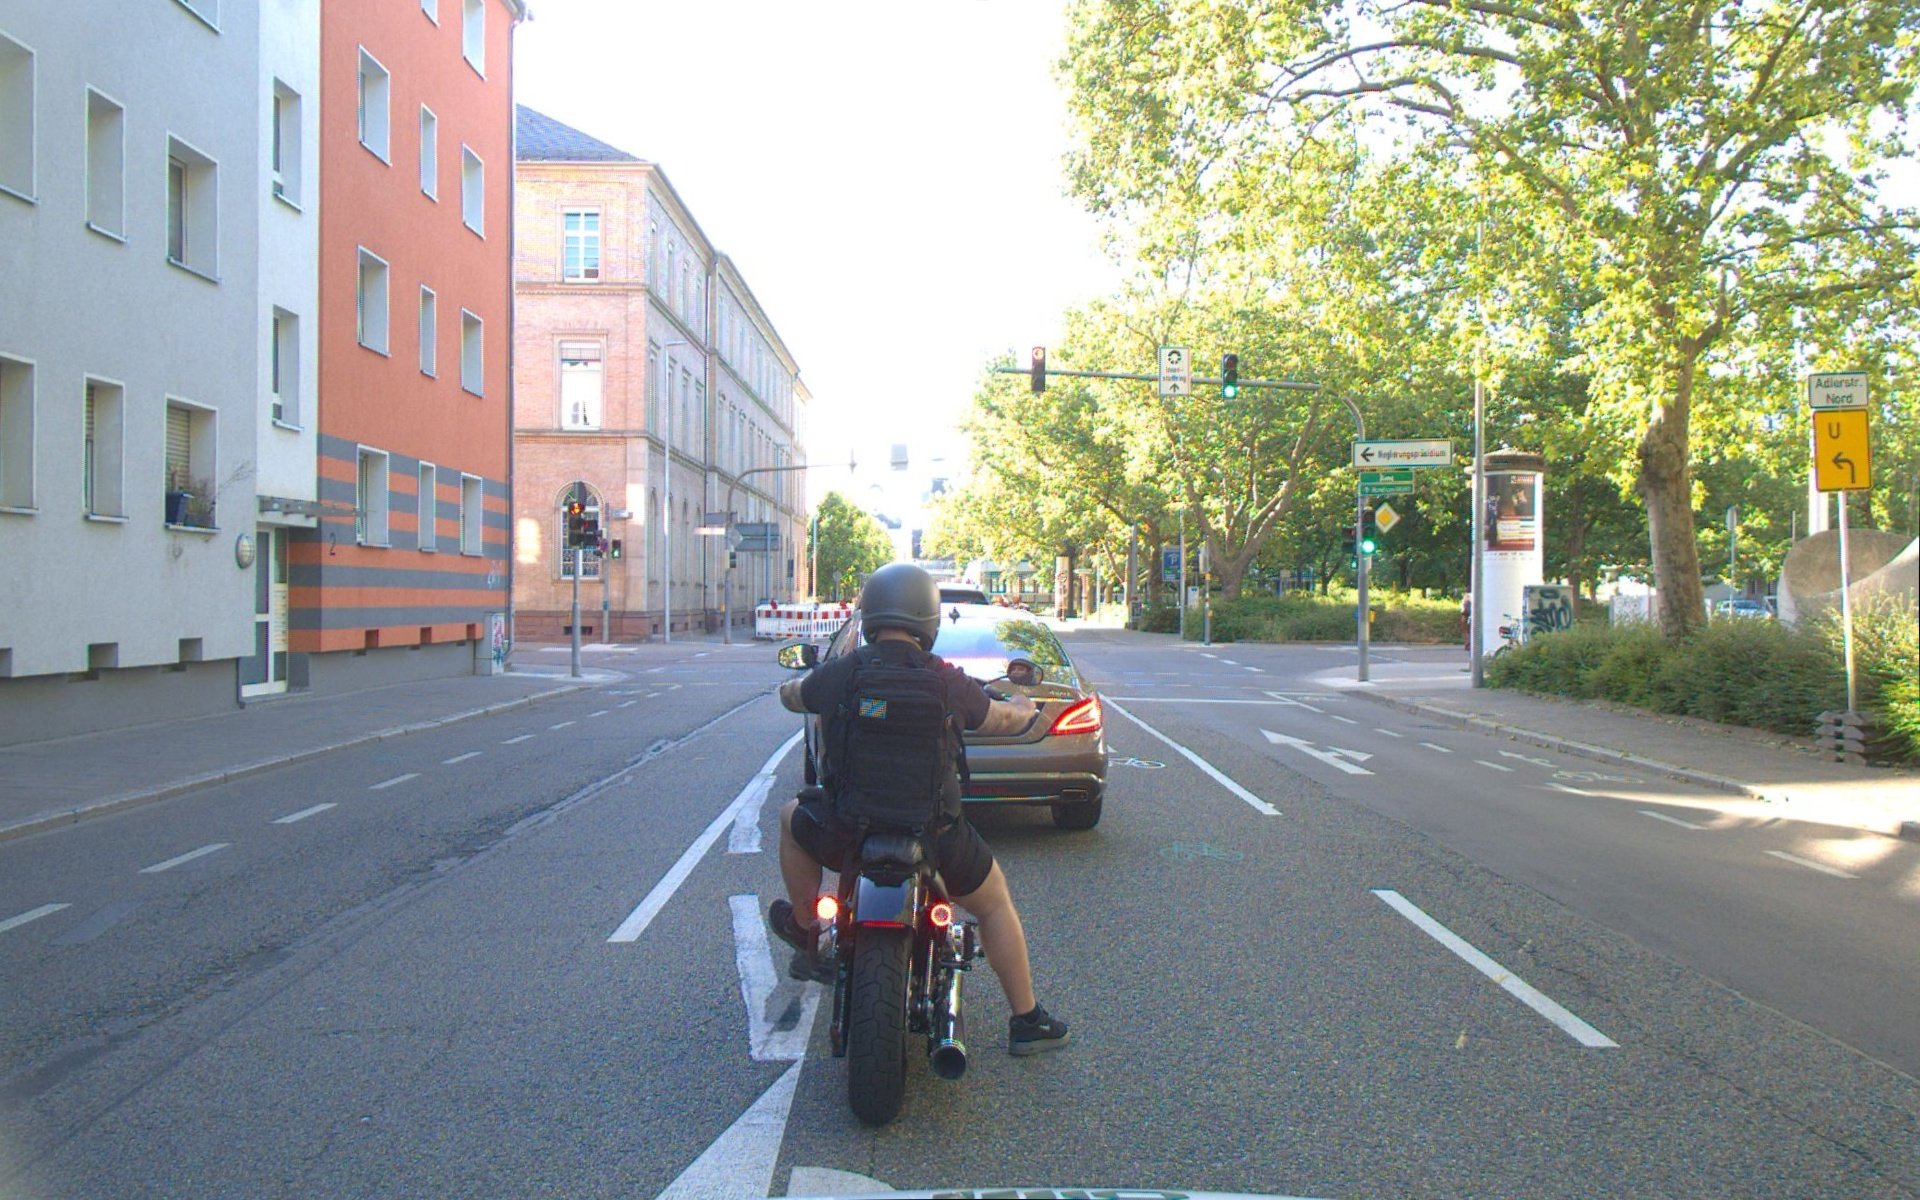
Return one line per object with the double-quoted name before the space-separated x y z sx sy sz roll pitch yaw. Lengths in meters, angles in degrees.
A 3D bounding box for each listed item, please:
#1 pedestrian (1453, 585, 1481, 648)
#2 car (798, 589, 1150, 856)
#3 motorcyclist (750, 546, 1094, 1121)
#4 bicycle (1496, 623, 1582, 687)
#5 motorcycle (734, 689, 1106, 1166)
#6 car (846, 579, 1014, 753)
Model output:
"pedestrian" 13.767 0.450 44.916 0.616 1.695 0.684 0 0 9
"car" -0.117 0.679 11.584 1.909 1.498 4.355 0 0 -7
"motorcyclist" -0.116 0.658 5.389 0.969 1.625 1.403 0 0 -1
"bicycle" 9.705 0.919 27.732 1.324 1.041 0.363 0 0 0
"motorcycle" -0.121 0.921 5.544 0.969 1.097 2.451 0 0 -1
"car" -0.339 0.613 17.747 1.580 1.636 4.327 0 0 -2
